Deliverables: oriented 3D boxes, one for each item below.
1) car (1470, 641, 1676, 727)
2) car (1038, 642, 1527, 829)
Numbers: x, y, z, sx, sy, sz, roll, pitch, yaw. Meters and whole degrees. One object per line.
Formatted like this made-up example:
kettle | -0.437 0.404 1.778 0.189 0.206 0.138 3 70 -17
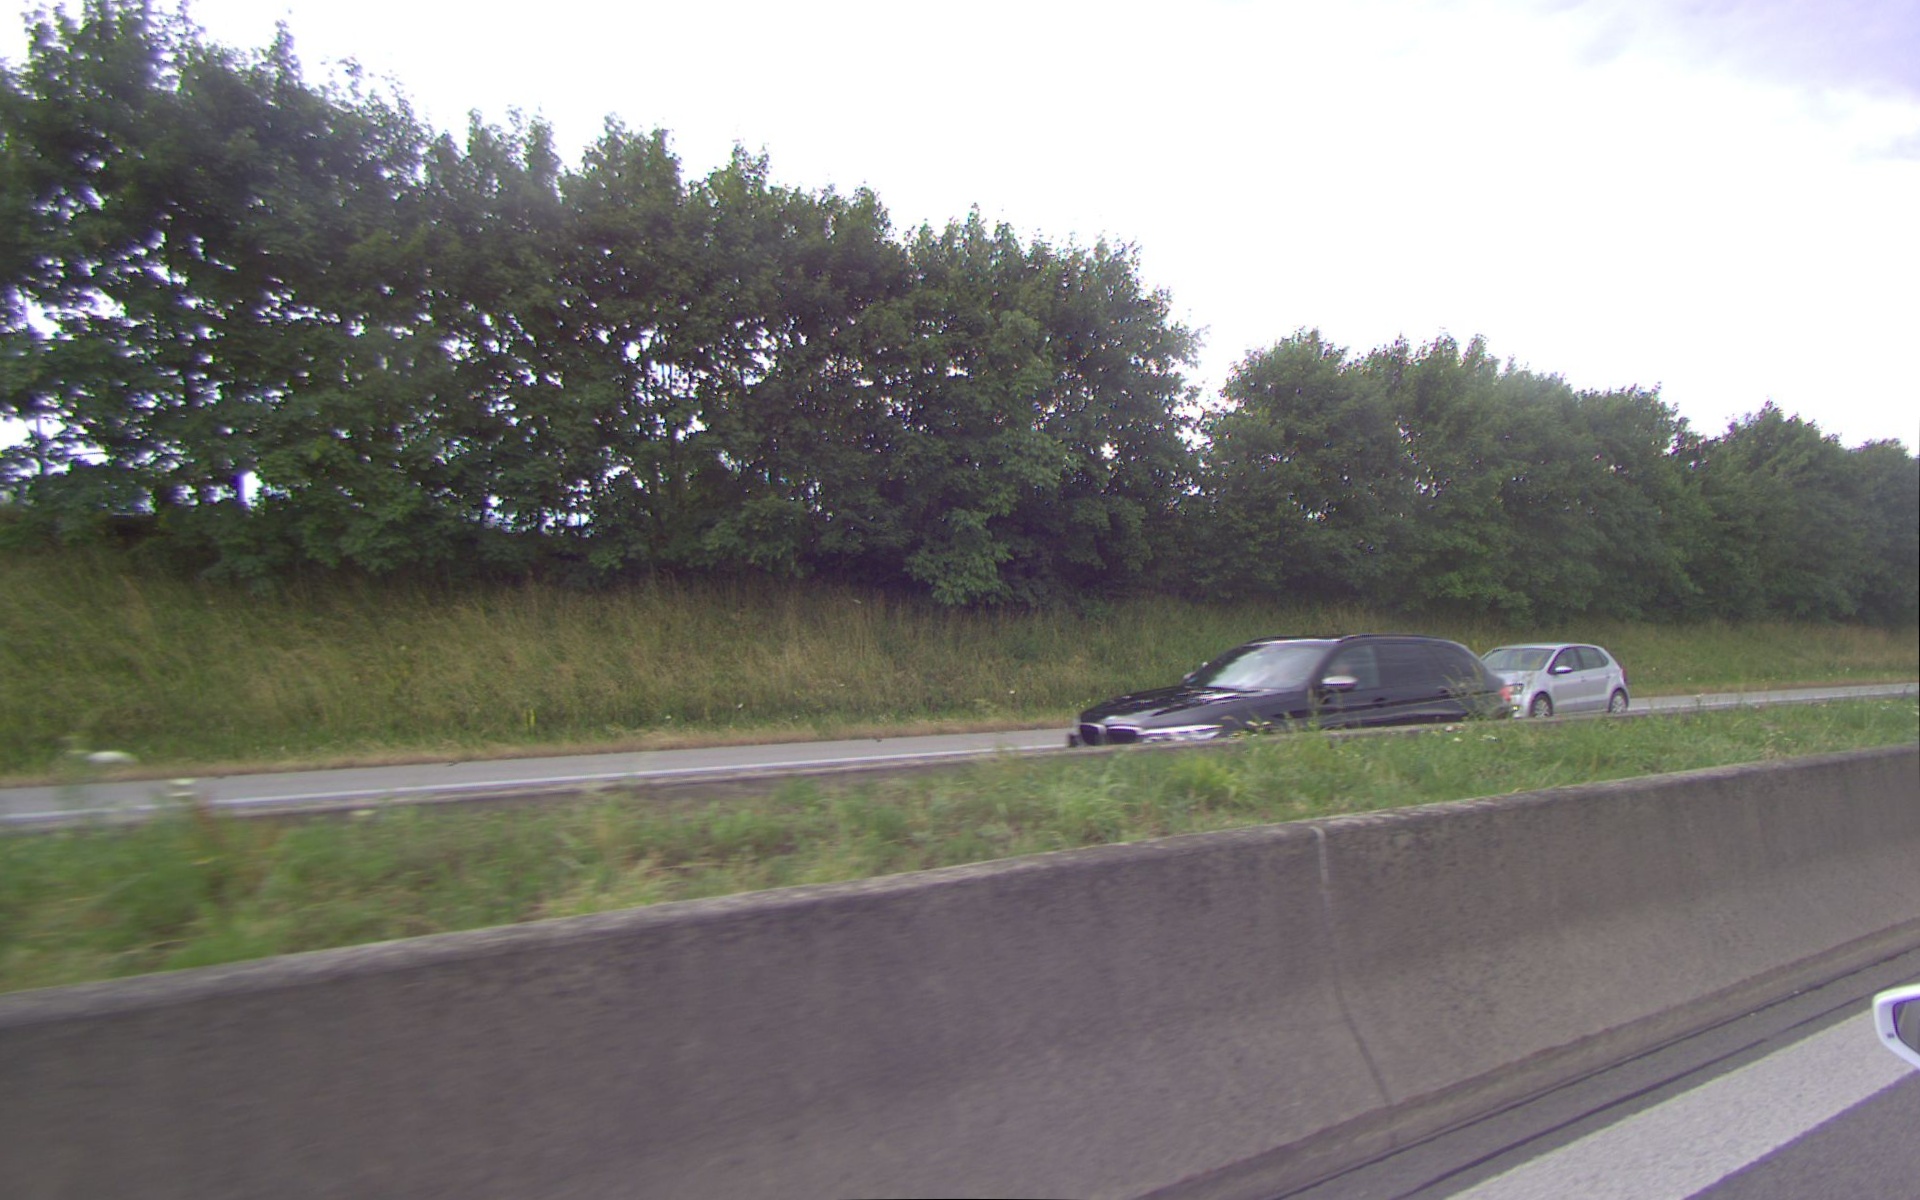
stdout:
car | 11.304 1.484 18.480 3.844 1.427 1.638 1 -4 -31
car | 3.133 1.112 9.511 4.546 1.396 1.840 1 -4 -30
